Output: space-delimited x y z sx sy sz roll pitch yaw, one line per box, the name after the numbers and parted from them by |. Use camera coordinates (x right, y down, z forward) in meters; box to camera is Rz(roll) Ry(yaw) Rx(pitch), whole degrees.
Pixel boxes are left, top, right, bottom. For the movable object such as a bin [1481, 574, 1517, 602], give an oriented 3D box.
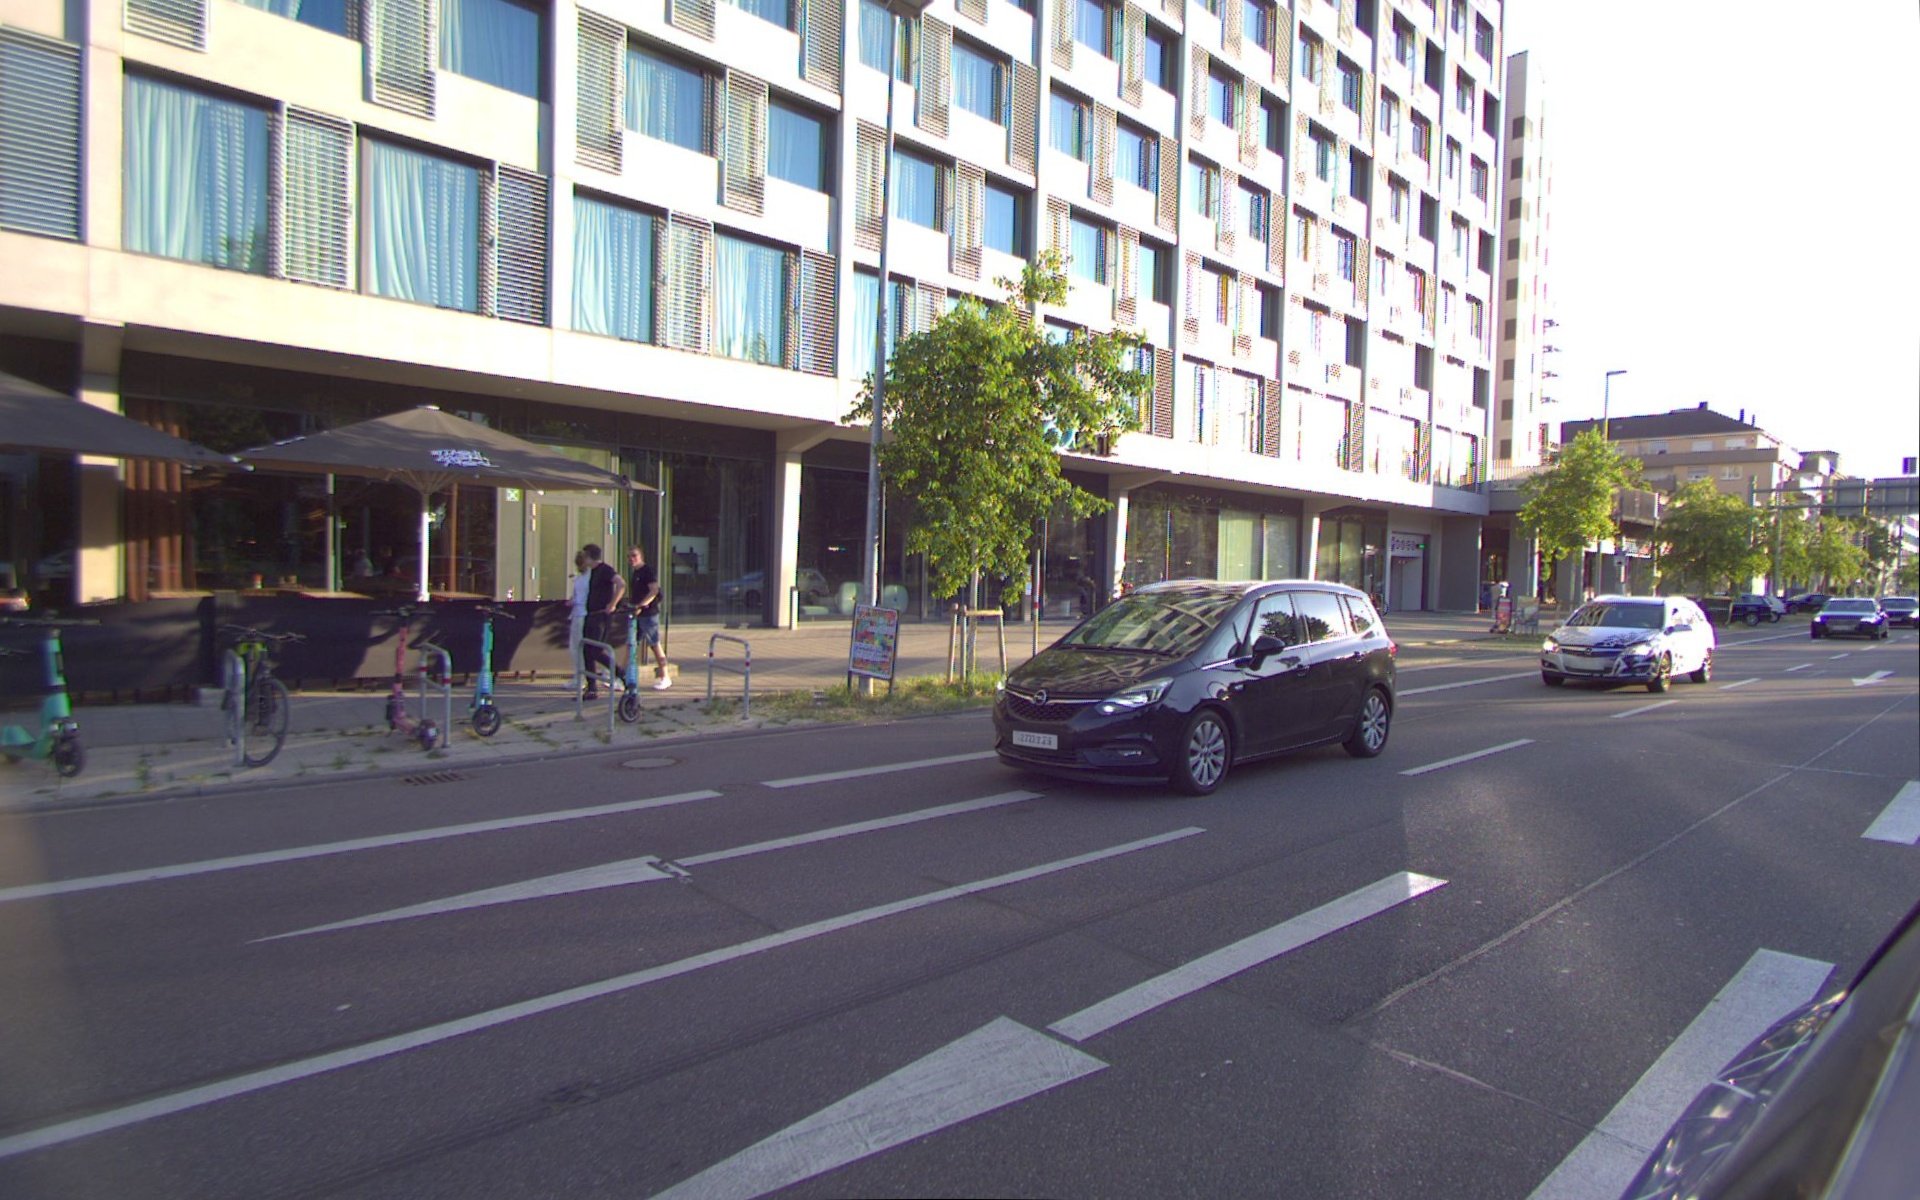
26.993 -0.608 50.677 1.283 1.315 1.183 0 2 -44 | movable object such as a bin

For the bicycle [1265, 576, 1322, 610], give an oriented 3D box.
11.036 -0.240 33.541 0.542 0.998 1.701 0 4 -45 | bicycle

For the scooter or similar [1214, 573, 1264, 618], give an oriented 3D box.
8.389 -0.137 30.470 1.268 1.248 0.599 5 4 44 | scooter or similar

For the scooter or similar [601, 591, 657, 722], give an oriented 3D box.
-3.578 0.573 10.945 0.524 1.233 1.300 1 4 -18 | scooter or similar

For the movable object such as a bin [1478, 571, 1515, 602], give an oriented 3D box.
24.805 -0.618 46.808 1.261 1.345 1.106 0 4 -43 | movable object such as a bin

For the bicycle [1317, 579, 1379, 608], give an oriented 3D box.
14.302 -0.246 37.305 2.015 0.969 0.611 4 3 42 | bicycle

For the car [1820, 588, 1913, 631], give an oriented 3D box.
31.684 0.305 35.342 4.202 1.413 1.914 0 0 -41 | car

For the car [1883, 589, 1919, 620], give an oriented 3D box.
44.520 0.178 47.352 1.858 1.413 4.209 0 0 44 | car

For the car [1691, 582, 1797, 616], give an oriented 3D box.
40.868 -0.080 52.830 3.927 1.433 1.747 3 3 10 | car

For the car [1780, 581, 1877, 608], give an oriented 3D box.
57.321 -0.390 66.881 4.528 1.471 1.811 3 3 7 | car

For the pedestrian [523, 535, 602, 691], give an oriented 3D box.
-4.896 0.138 12.459 0.762 1.833 0.621 0 5 -33 | pedestrian

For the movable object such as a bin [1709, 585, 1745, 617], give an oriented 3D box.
33.634 0.017 44.379 1.084 1.317 1.341 5 4 41 | movable object such as a bin

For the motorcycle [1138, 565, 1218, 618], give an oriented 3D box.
6.292 -0.267 29.269 2.105 1.403 0.664 4 3 34 | motorcycle

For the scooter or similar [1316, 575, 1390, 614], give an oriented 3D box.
13.779 -0.204 35.553 0.610 1.197 2.376 0 4 -42 | scooter or similar

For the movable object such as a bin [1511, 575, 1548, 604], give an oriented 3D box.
27.981 -0.535 49.731 1.246 1.338 1.183 0 5 -44 | movable object such as a bin

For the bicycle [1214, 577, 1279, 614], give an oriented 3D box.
8.994 -0.158 31.800 0.556 1.022 1.888 0 5 -43 | bicycle

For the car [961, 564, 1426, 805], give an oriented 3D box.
2.216 0.546 8.911 4.290 1.618 1.826 0 1 -41 | car

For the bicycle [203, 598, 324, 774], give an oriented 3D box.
-5.930 0.654 8.572 0.598 1.196 1.850 0 4 -42 | bicycle

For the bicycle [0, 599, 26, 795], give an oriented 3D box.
-7.292 0.663 7.411 1.794 1.208 0.559 6 4 44 | bicycle

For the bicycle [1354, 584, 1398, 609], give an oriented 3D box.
15.647 -0.140 38.080 0.449 0.902 1.424 0 2 -42 | bicycle

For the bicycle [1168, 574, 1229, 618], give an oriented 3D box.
7.000 -0.144 29.748 1.603 1.168 0.604 5 3 36 | bicycle

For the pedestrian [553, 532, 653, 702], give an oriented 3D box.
-4.168 0.175 11.799 0.922 1.871 0.747 0 4 -33 | pedestrian

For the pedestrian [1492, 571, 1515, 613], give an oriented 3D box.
21.827 -0.329 40.623 0.576 1.638 0.632 5 4 45 | pedestrian

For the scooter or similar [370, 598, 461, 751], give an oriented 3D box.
-4.983 0.637 9.234 0.501 1.205 1.159 -2 5 -40 | scooter or similar

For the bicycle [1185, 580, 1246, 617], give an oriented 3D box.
7.653 -0.063 30.354 0.542 0.998 1.701 0 4 -45 | bicycle

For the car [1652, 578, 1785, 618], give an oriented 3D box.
36.187 -0.133 48.417 4.592 1.526 1.936 3 4 9 | car

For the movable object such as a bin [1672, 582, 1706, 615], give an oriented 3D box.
32.664 -0.084 45.331 1.014 1.363 1.143 6 4 43 | movable object such as a bin

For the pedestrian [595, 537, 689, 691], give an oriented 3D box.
-4.014 0.153 12.760 0.922 1.846 0.759 0 4 -33 | pedestrian

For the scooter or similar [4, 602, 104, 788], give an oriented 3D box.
-6.893 0.670 7.685 1.210 1.216 0.472 6 4 44 | scooter or similar

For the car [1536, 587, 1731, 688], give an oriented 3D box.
11.365 0.535 16.973 4.231 1.482 1.830 0 0 -43 | car

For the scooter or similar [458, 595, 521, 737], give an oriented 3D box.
-4.641 0.611 9.952 0.521 1.228 1.134 -1 5 -27 | scooter or similar
